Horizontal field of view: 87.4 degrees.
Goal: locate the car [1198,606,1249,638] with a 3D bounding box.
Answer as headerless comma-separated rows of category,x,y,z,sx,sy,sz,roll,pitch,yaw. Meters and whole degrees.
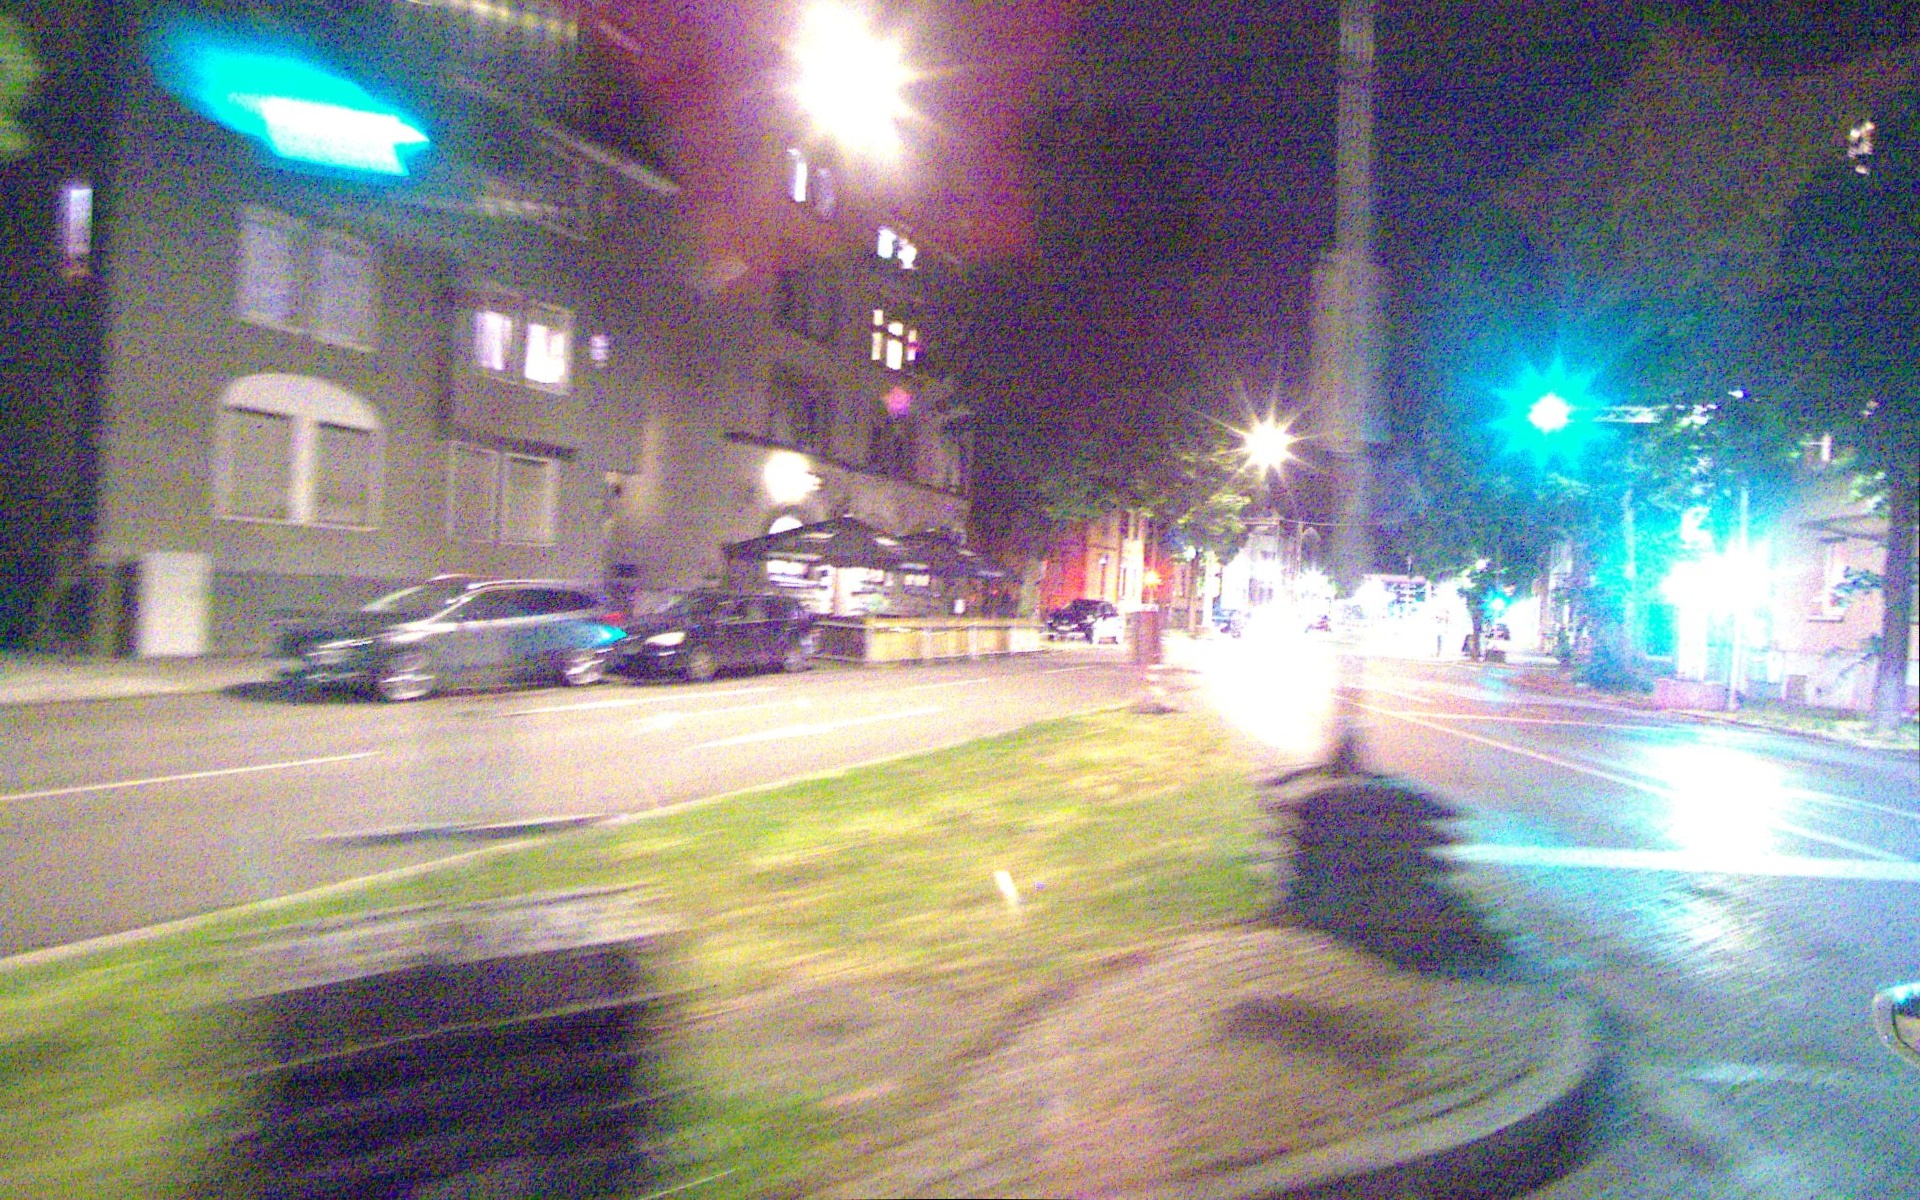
car,14.584,1.219,55.477,1.570,1.511,3.690,7,2,32

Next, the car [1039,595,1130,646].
car,4.658,0.758,37.074,1.858,1.617,4.017,5,1,29

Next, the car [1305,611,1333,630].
car,31.058,1.733,86.885,1.757,1.434,4.122,5,2,26

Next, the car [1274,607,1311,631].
car,25.232,1.462,76.064,1.758,1.603,4.404,6,2,29

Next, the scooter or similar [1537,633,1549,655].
scooter or similar,31.302,2.340,53.930,0.416,1.145,1.488,3,1,35

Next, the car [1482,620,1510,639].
car,46.887,2.591,87.998,1.706,1.479,4.725,4,1,24

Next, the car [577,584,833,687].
car,-4.331,0.581,17.805,1.832,1.452,4.437,5,1,28

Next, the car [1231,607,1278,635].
car,18.515,1.318,63.088,1.758,1.511,4.322,6,2,29

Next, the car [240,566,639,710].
car,-6.677,0.444,13.472,1.832,1.499,4.467,4,1,28

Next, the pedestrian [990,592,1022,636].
pedestrian,1.844,0.557,40.438,0.700,1.713,1.120,3,1,38

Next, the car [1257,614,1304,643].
car,17.223,1.485,53.853,1.689,1.448,3.994,2,0,28

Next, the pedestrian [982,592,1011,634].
pedestrian,1.523,0.544,41.756,0.700,1.713,0.993,3,1,38
